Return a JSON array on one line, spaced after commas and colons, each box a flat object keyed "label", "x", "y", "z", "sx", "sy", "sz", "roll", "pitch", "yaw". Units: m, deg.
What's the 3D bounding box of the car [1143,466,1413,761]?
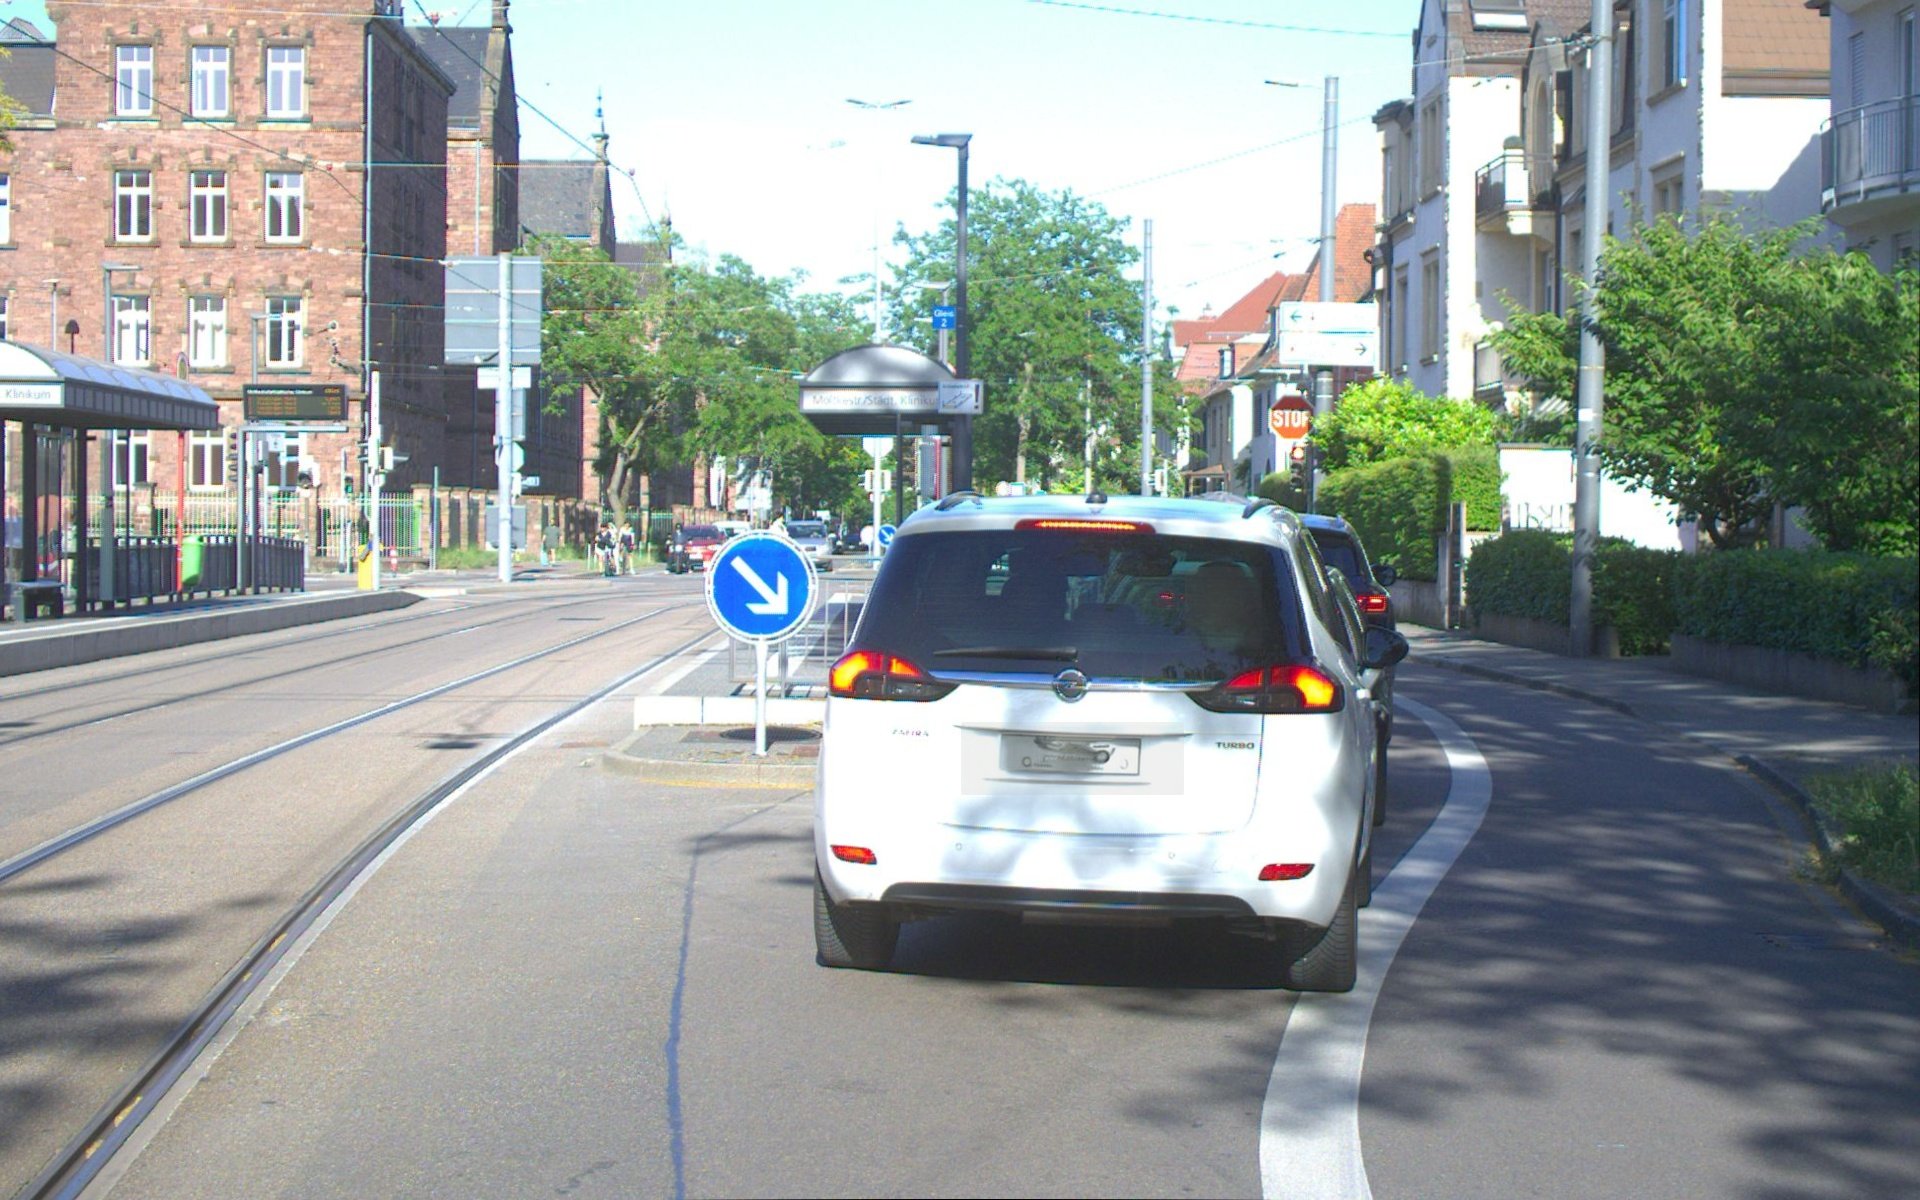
[{"label": "car", "x": 2.420, "y": 0.046, "z": 25.423, "sx": 1.709, "sy": 2.007, "sz": 3.905, "roll": 0, "pitch": 1, "yaw": 9}]

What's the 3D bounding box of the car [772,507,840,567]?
[{"label": "car", "x": -5.009, "y": -2.055, "z": 112.537, "sx": 1.993, "sy": 1.907, "sz": 4.000, "roll": 1, "pitch": 1, "yaw": 1}]

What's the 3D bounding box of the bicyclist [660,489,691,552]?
[{"label": "bicyclist", "x": -9.171, "y": -2.555, "z": 110.933, "sx": 0.950, "sy": 2.007, "sz": 0.823, "roll": 1, "pitch": 1, "yaw": -3}]

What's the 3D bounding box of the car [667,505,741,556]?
[{"label": "car", "x": -8.858, "y": -2.427, "z": 119.174, "sx": 1.994, "sy": 1.716, "sz": 4.000, "roll": 1, "pitch": 1, "yaw": 4}]

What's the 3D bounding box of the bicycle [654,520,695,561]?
[{"label": "bicycle", "x": -9.207, "y": -1.937, "z": 110.949, "sx": 1.148, "sy": 1.292, "sz": 2.861, "roll": 0, "pitch": 1, "yaw": -2}]

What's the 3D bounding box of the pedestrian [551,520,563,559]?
[{"label": "pedestrian", "x": -14.685, "y": -2.205, "z": 125.303, "sx": 0.361, "sy": 1.433, "sz": 0.549, "roll": 1, "pitch": 1, "yaw": 2}]

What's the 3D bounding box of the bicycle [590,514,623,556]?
[{"label": "bicycle", "x": -11.111, "y": -2.050, "z": 108.140, "sx": 0.821, "sy": 1.292, "sz": 2.678, "roll": 0, "pitch": 1, "yaw": -2}]

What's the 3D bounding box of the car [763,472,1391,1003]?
[{"label": "car", "x": 0.614, "y": 0.437, "z": 12.688, "sx": 1.893, "sy": 1.605, "sz": 4.227, "roll": 1, "pitch": -1, "yaw": 8}]

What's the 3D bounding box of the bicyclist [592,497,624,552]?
[{"label": "bicyclist", "x": -11.100, "y": -2.381, "z": 108.422, "sx": 0.943, "sy": 1.728, "sz": 0.861, "roll": 1, "pitch": 1, "yaw": -1}]

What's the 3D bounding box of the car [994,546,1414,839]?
[{"label": "car", "x": 1.480, "y": 0.430, "z": 19.322, "sx": 1.994, "sy": 1.437, "sz": 3.999, "roll": 0, "pitch": 1, "yaw": 9}]

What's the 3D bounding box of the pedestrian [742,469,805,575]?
[{"label": "pedestrian", "x": -3.591, "y": -1.516, "z": 66.288, "sx": 1.155, "sy": 2.006, "sz": 1.120, "roll": -1, "pitch": 2, "yaw": -3}]
